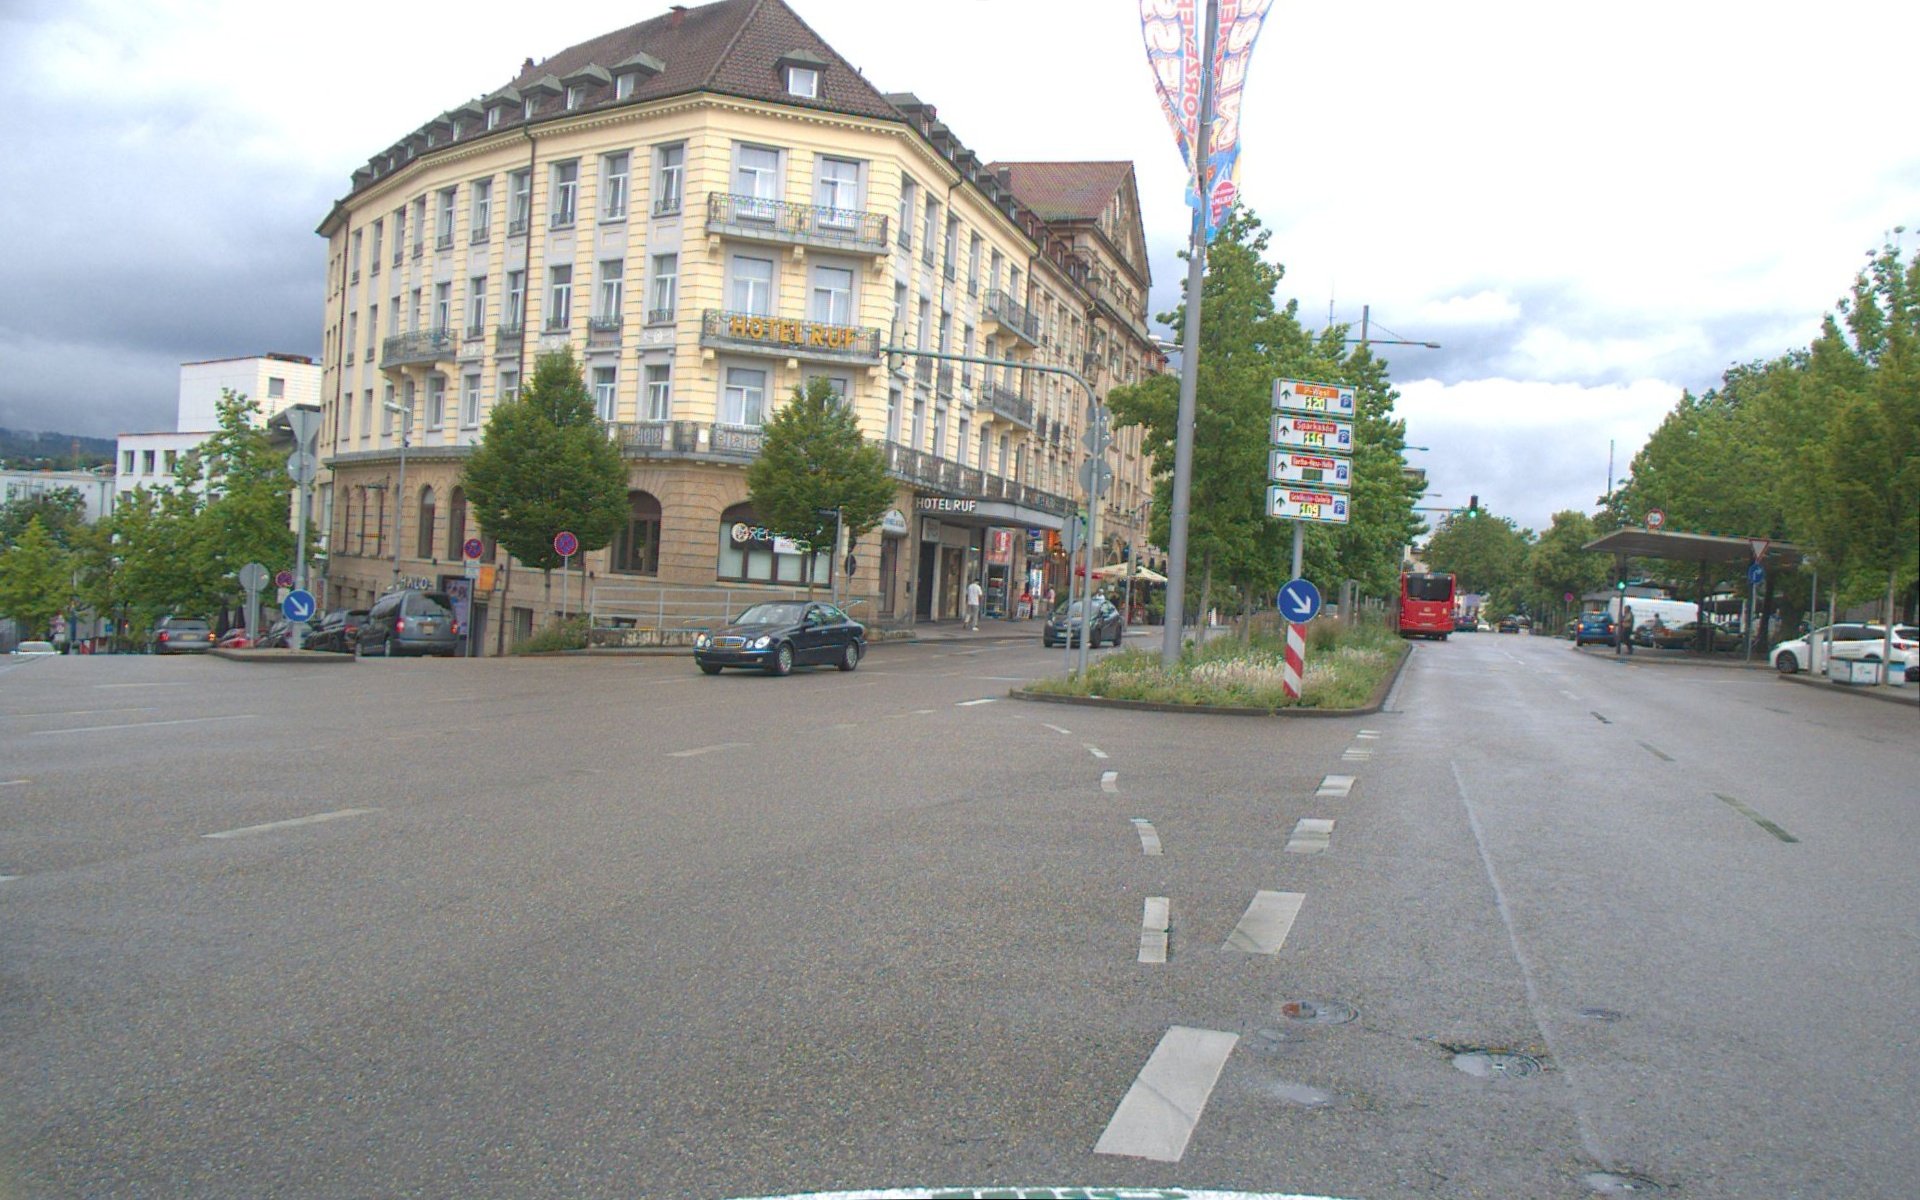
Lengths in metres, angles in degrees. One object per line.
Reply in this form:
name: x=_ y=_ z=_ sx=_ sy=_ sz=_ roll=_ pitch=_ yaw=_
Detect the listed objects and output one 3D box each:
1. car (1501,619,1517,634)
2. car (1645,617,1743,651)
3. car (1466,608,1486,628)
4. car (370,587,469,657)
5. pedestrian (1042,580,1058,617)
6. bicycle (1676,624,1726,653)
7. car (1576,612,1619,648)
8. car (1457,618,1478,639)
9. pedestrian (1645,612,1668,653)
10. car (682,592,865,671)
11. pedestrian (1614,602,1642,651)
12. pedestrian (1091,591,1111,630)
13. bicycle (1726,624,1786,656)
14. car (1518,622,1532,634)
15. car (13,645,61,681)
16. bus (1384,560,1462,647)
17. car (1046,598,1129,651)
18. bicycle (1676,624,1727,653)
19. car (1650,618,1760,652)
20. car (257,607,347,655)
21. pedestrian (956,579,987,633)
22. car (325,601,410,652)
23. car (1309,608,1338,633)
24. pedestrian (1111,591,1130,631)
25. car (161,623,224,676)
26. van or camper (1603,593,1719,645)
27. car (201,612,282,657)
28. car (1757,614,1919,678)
car: x=60.458 y=2.893 z=182.244 sx=1.561 sy=1.588 sz=3.652 roll=1 pitch=-1 yaw=17
car: x=34.563 y=1.602 z=77.921 sx=3.919 sy=1.383 sz=1.858 roll=2 pitch=-1 yaw=-14
car: x=55.769 y=1.974 z=178.806 sx=1.951 sy=2.049 sz=4.002 roll=1 pitch=-1 yaw=17
car: x=-14.777 y=0.573 z=45.141 sx=1.614 sy=1.790 sz=3.955 roll=1 pitch=0 yaw=-33
pedestrian: x=4.124 y=-0.057 z=75.429 sx=0.652 sy=1.693 sz=0.537 roll=1 pitch=-1 yaw=8
bicycle: x=29.099 y=1.509 z=64.942 sx=1.790 sy=1.074 sz=0.420 roll=1 pitch=-1 yaw=-1
car: x=30.306 y=1.430 z=78.664 sx=1.820 sy=1.596 sz=4.000 roll=2 pitch=-1 yaw=20
car: x=50.411 y=2.794 z=164.396 sx=1.951 sy=2.049 sz=4.002 roll=1 pitch=-1 yaw=17
pedestrian: x=32.234 y=1.495 z=76.546 sx=0.838 sy=1.867 sz=1.190 roll=1 pitch=-1 yaw=16
car: x=-3.625 y=0.606 z=32.868 sx=1.916 sy=1.447 sz=3.999 roll=1 pitch=-1 yaw=23
pedestrian: x=24.632 y=0.965 z=61.019 sx=0.730 sy=1.777 sz=0.837 roll=2 pitch=-1 yaw=9
pedestrian: x=6.048 y=0.454 z=71.044 sx=0.667 sy=1.693 sz=0.807 roll=1 pitch=-1 yaw=20
bicycle: x=27.014 y=1.354 z=56.161 sx=1.789 sy=1.074 sz=0.420 roll=1 pitch=-1 yaw=17
car: x=79.675 y=3.917 z=233.279 sx=1.610 sy=1.690 sz=3.652 roll=1 pitch=-1 yaw=17
car: x=-39.803 y=2.696 z=71.299 sx=1.614 sy=1.422 sz=3.956 roll=1 pitch=-1 yaw=-32
bus: x=23.195 y=0.226 z=82.845 sx=3.470 sy=4.049 sz=11.178 roll=1 pitch=-1 yaw=16
car: x=3.924 y=0.744 z=50.483 sx=1.642 sy=1.539 sz=3.865 roll=1 pitch=-1 yaw=18
bicycle: x=28.897 y=1.507 z=64.476 sx=1.790 sy=1.074 sz=0.420 roll=1 pitch=-1 yaw=-1
car: x=33.500 y=1.557 z=74.410 sx=4.102 sy=1.348 sz=1.839 roll=2 pitch=-1 yaw=-3
car: x=-21.703 y=1.010 z=54.496 sx=1.751 sy=1.504 sz=3.947 roll=1 pitch=-1 yaw=-37
pedestrian: x=0.394 y=0.211 z=57.518 sx=0.861 sy=1.844 sz=0.751 roll=1 pitch=-1 yaw=17
car: x=-18.155 y=0.799 z=50.571 sx=1.614 sy=1.422 sz=3.955 roll=1 pitch=0 yaw=-33
car: x=31.681 y=1.803 z=144.127 sx=1.952 sy=2.049 sz=5.003 roll=1 pitch=-1 yaw=18
pedestrian: x=6.878 y=0.466 z=70.837 sx=0.667 sy=1.693 sz=0.807 roll=1 pitch=-1 yaw=17
car: x=-23.614 y=1.486 z=50.868 sx=1.673 sy=1.491 sz=4.415 roll=1 pitch=-1 yaw=-25
van or camper: x=39.789 y=1.091 z=93.906 sx=5.838 sy=2.811 sz=2.193 roll=1 pitch=-1 yaw=-10
car: x=-25.714 y=1.223 z=59.117 sx=1.751 sy=1.504 sz=3.956 roll=1 pitch=-1 yaw=-37
car: x=24.189 y=1.216 z=44.797 sx=1.734 sy=1.573 sz=4.744 roll=2 pitch=-1 yaw=-22
